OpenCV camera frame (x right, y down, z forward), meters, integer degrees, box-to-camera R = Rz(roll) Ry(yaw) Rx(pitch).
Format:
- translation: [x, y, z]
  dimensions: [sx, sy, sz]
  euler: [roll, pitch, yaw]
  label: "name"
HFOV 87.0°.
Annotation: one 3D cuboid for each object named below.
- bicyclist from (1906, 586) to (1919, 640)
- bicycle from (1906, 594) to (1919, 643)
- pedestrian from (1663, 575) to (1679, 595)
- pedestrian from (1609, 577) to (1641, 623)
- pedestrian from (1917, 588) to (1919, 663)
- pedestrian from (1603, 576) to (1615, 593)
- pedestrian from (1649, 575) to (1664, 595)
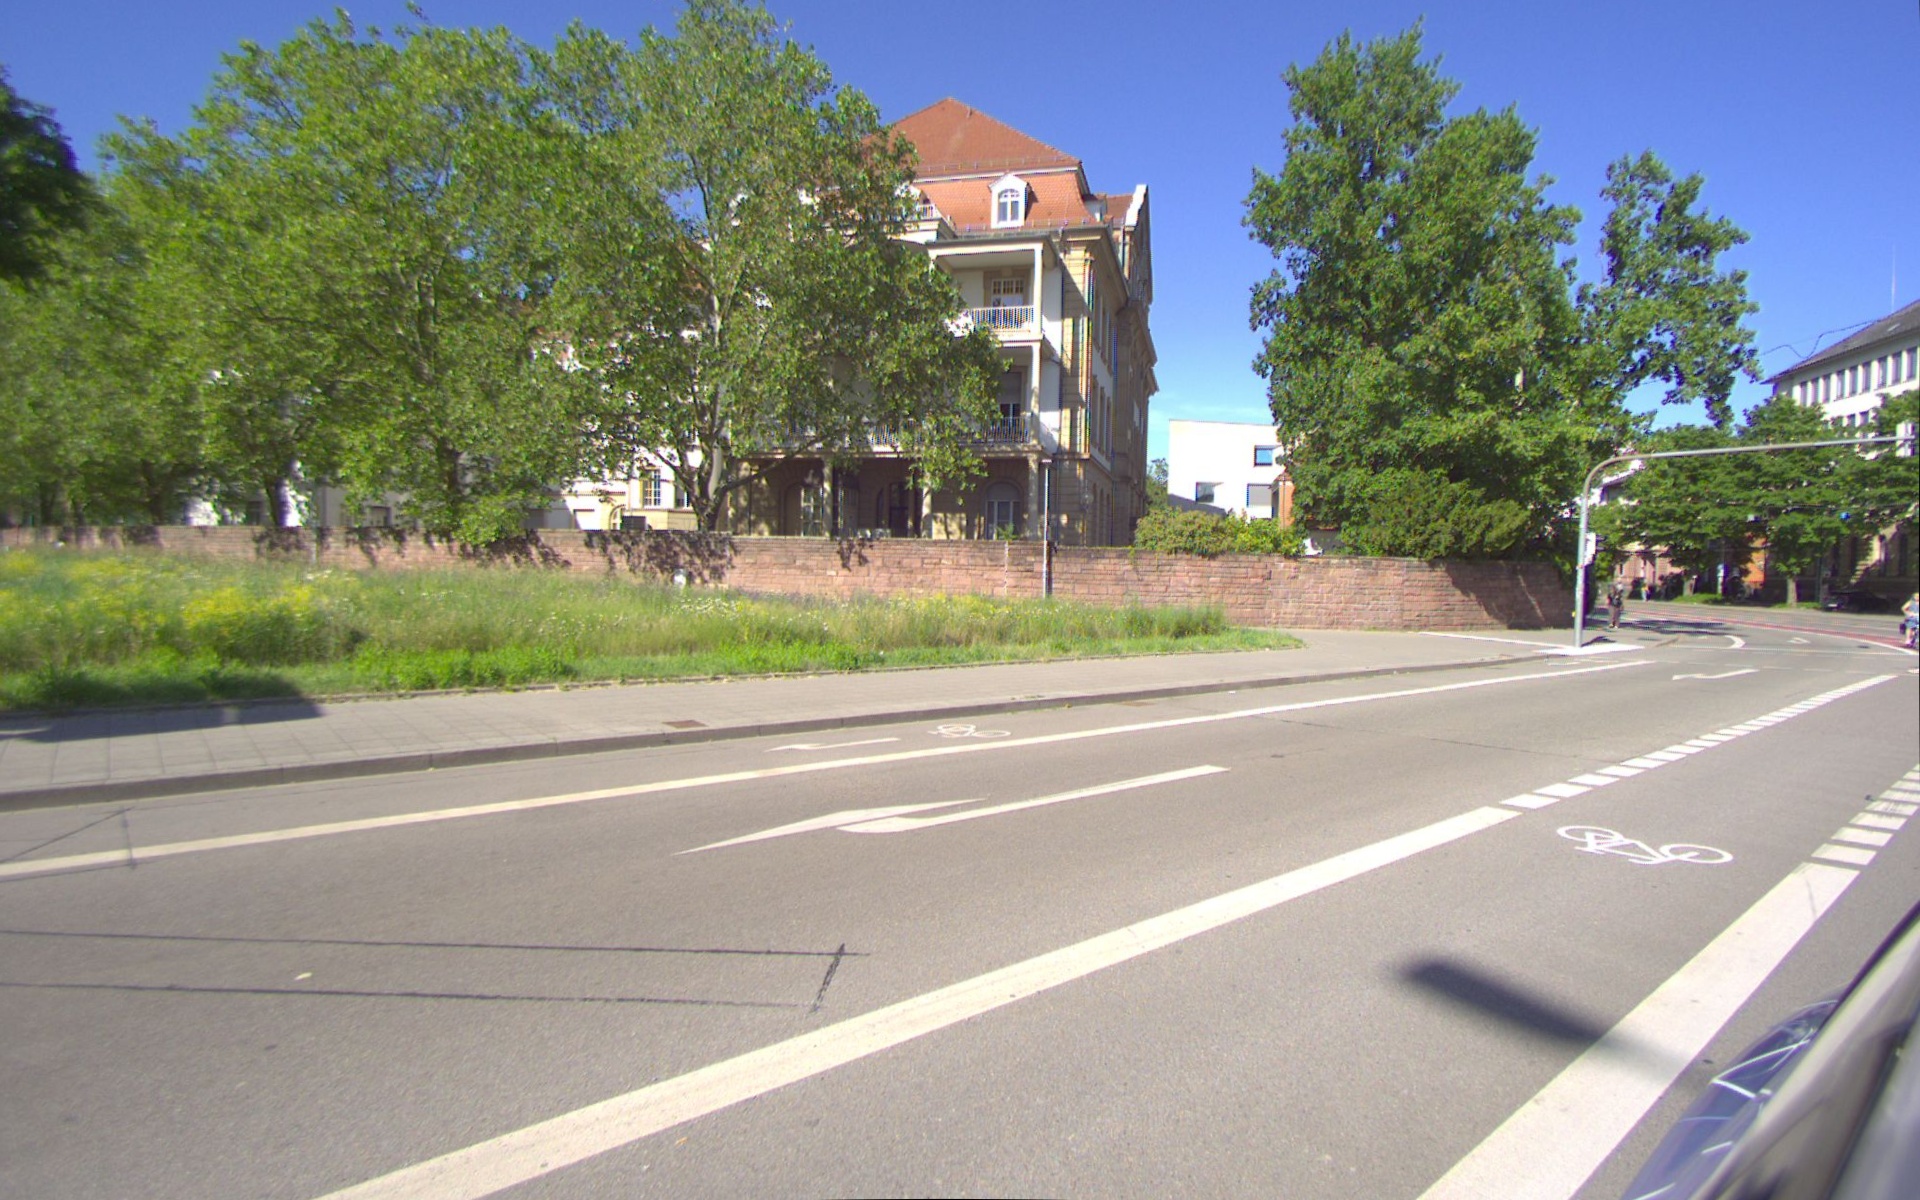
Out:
- translation: [29.204, 0.390, 30.550]
  dimensions: [0.866, 1.579, 1.261]
  euler: [2, 2, 41]
  label: "bicyclist"
- translation: [29.105, 0.542, 30.460]
  dimensions: [0.759, 1.385, 2.698]
  euler: [2, 2, 40]
  label: "bicycle"
- translation: [66.973, -1.368, 95.307]
  dimensions: [0.742, 1.836, 0.981]
  euler: [4, -3, -33]
  label: "pedestrian"
- translation: [25.938, -0.029, 39.475]
  dimensions: [0.935, 1.742, 0.983]
  euler: [2, 2, 37]
  label: "pedestrian"
- translation: [20.348, 0.394, 20.534]
  dimensions: [1.223, 1.878, 0.816]
  euler: [2, 2, 39]
  label: "pedestrian"
- translation: [69.670, -1.696, 108.634]
  dimensions: [0.745, 1.835, 0.978]
  euler: [1, 1, 10]
  label: "pedestrian"
- translation: [65.398, -1.422, 94.983]
  dimensions: [0.745, 1.835, 0.978]
  euler: [1, 1, 9]
  label: "pedestrian"
